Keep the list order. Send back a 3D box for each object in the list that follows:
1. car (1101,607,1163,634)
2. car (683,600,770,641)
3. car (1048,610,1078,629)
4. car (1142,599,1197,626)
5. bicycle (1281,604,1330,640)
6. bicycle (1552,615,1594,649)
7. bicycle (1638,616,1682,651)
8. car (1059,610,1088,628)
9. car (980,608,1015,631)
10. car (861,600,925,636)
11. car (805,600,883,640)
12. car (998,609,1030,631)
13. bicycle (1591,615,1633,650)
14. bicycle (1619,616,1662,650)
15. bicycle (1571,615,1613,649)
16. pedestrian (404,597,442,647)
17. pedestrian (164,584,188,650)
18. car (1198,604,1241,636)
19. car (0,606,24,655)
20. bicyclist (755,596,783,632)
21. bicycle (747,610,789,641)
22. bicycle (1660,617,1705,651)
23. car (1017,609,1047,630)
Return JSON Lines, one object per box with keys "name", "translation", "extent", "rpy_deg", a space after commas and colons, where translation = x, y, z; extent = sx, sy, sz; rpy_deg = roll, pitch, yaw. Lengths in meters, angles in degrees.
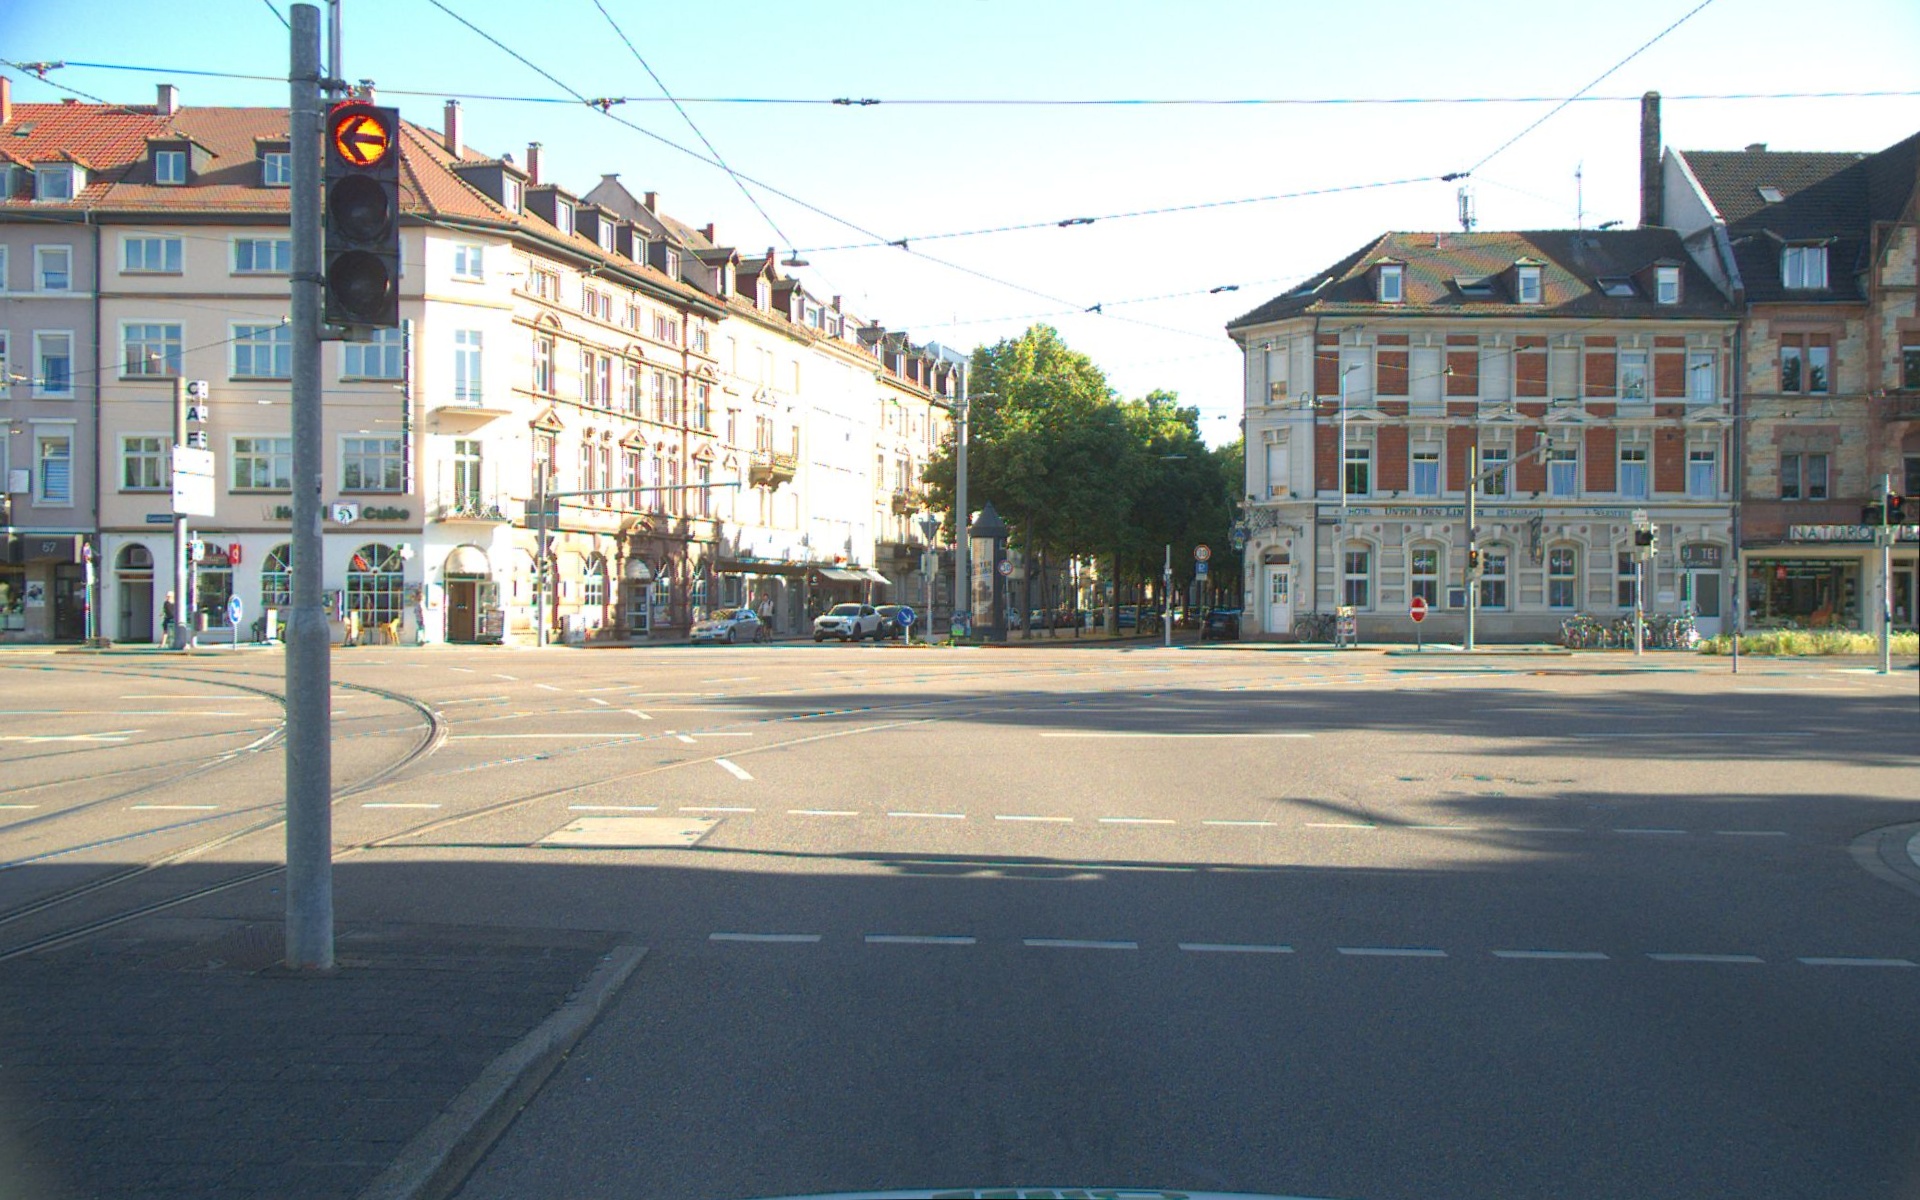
{"name": "car", "translation": [12.005, 1.400, 115.388], "extent": [4.024, 1.675, 1.748], "rpy_deg": [3, 0, 15]}
{"name": "car", "translation": [-9.452, 0.810, 67.225], "extent": [2.052, 1.572, 4.367], "rpy_deg": [0, 0, 13]}
{"name": "car", "translation": [8.244, 1.536, 131.711], "extent": [1.704, 1.422, 4.127], "rpy_deg": [3, 0, 13]}
{"name": "car", "translation": [16.958, 1.011, 133.668], "extent": [4.026, 1.952, 1.746], "rpy_deg": [3, 0, 21]}
{"name": "bicycle", "translation": [11.974, 0.762, 57.306], "extent": [1.603, 1.243, 0.607], "rpy_deg": [0, 0, 16]}
{"name": "bicycle", "translation": [19.823, 1.023, 53.515], "extent": [0.593, 1.069, 1.641], "rpy_deg": [0, 0, -6]}
{"name": "bicycle", "translation": [22.602, 1.071, 53.405], "extent": [0.593, 1.069, 1.641], "rpy_deg": [0, 0, -6]}
{"name": "car", "translation": [9.422, 1.572, 136.506], "extent": [1.704, 1.422, 4.127], "rpy_deg": [3, 0, 13]}
{"name": "car", "translation": [2.526, 1.308, 110.021], "extent": [1.704, 1.422, 4.127], "rpy_deg": [3, 0, 9]}
{"name": "car", "translation": [-2.960, 0.795, 73.477], "extent": [1.951, 1.540, 4.004], "rpy_deg": [0, 0, 11]}
{"name": "car", "translation": [-4.653, 0.788, 67.084], "extent": [2.052, 1.525, 4.003], "rpy_deg": [0, 0, 13]}
{"name": "car", "translation": [3.804, 1.355, 115.844], "extent": [1.704, 1.422, 4.127], "rpy_deg": [3, 0, 9]}
{"name": "bicycle", "translation": [21.116, 1.046, 53.597], "extent": [0.593, 1.069, 1.641], "rpy_deg": [0, 0, -6]}
{"name": "bicycle", "translation": [21.942, 1.059, 53.329], "extent": [0.593, 1.069, 1.641], "rpy_deg": [0, 0, -6]}
{"name": "bicycle", "translation": [20.464, 1.035, 53.571], "extent": [0.593, 1.069, 1.641], "rpy_deg": [0, 0, -6]}
{"name": "pedestrian", "translation": [-17.903, 0.721, 55.112], "extent": [1.052, 1.618, 1.033], "rpy_deg": [0, 0, -27]}
{"name": "pedestrian", "translation": [-24.668, 0.537, 52.039], "extent": [0.498, 2.049, 0.505], "rpy_deg": [0, 0, 2]}
{"name": "car", "translation": [12.973, 1.001, 82.469], "extent": [1.616, 1.551, 3.755], "rpy_deg": [0, -1, 17]}
{"name": "car", "translation": [-32.064, 0.996, 52.160], "extent": [3.910, 1.489, 1.998], "rpy_deg": [-1, 1, -6]}
{"name": "bicyclist", "translation": [-7.561, 0.542, 65.469], "extent": [0.776, 1.399, 1.109], "rpy_deg": [0, 0, 14]}
{"name": "bicycle", "translation": [-7.575, 0.993, 65.499], "extent": [0.734, 1.155, 2.812], "rpy_deg": [0, 0, 14]}
{"name": "bicycle", "translation": [23.328, 1.084, 53.426], "extent": [0.593, 1.069, 1.641], "rpy_deg": [0, 0, -6]}
{"name": "car", "translation": [5.335, 1.411, 122.844], "extent": [1.704, 1.422, 4.127], "rpy_deg": [3, 0, 9]}
